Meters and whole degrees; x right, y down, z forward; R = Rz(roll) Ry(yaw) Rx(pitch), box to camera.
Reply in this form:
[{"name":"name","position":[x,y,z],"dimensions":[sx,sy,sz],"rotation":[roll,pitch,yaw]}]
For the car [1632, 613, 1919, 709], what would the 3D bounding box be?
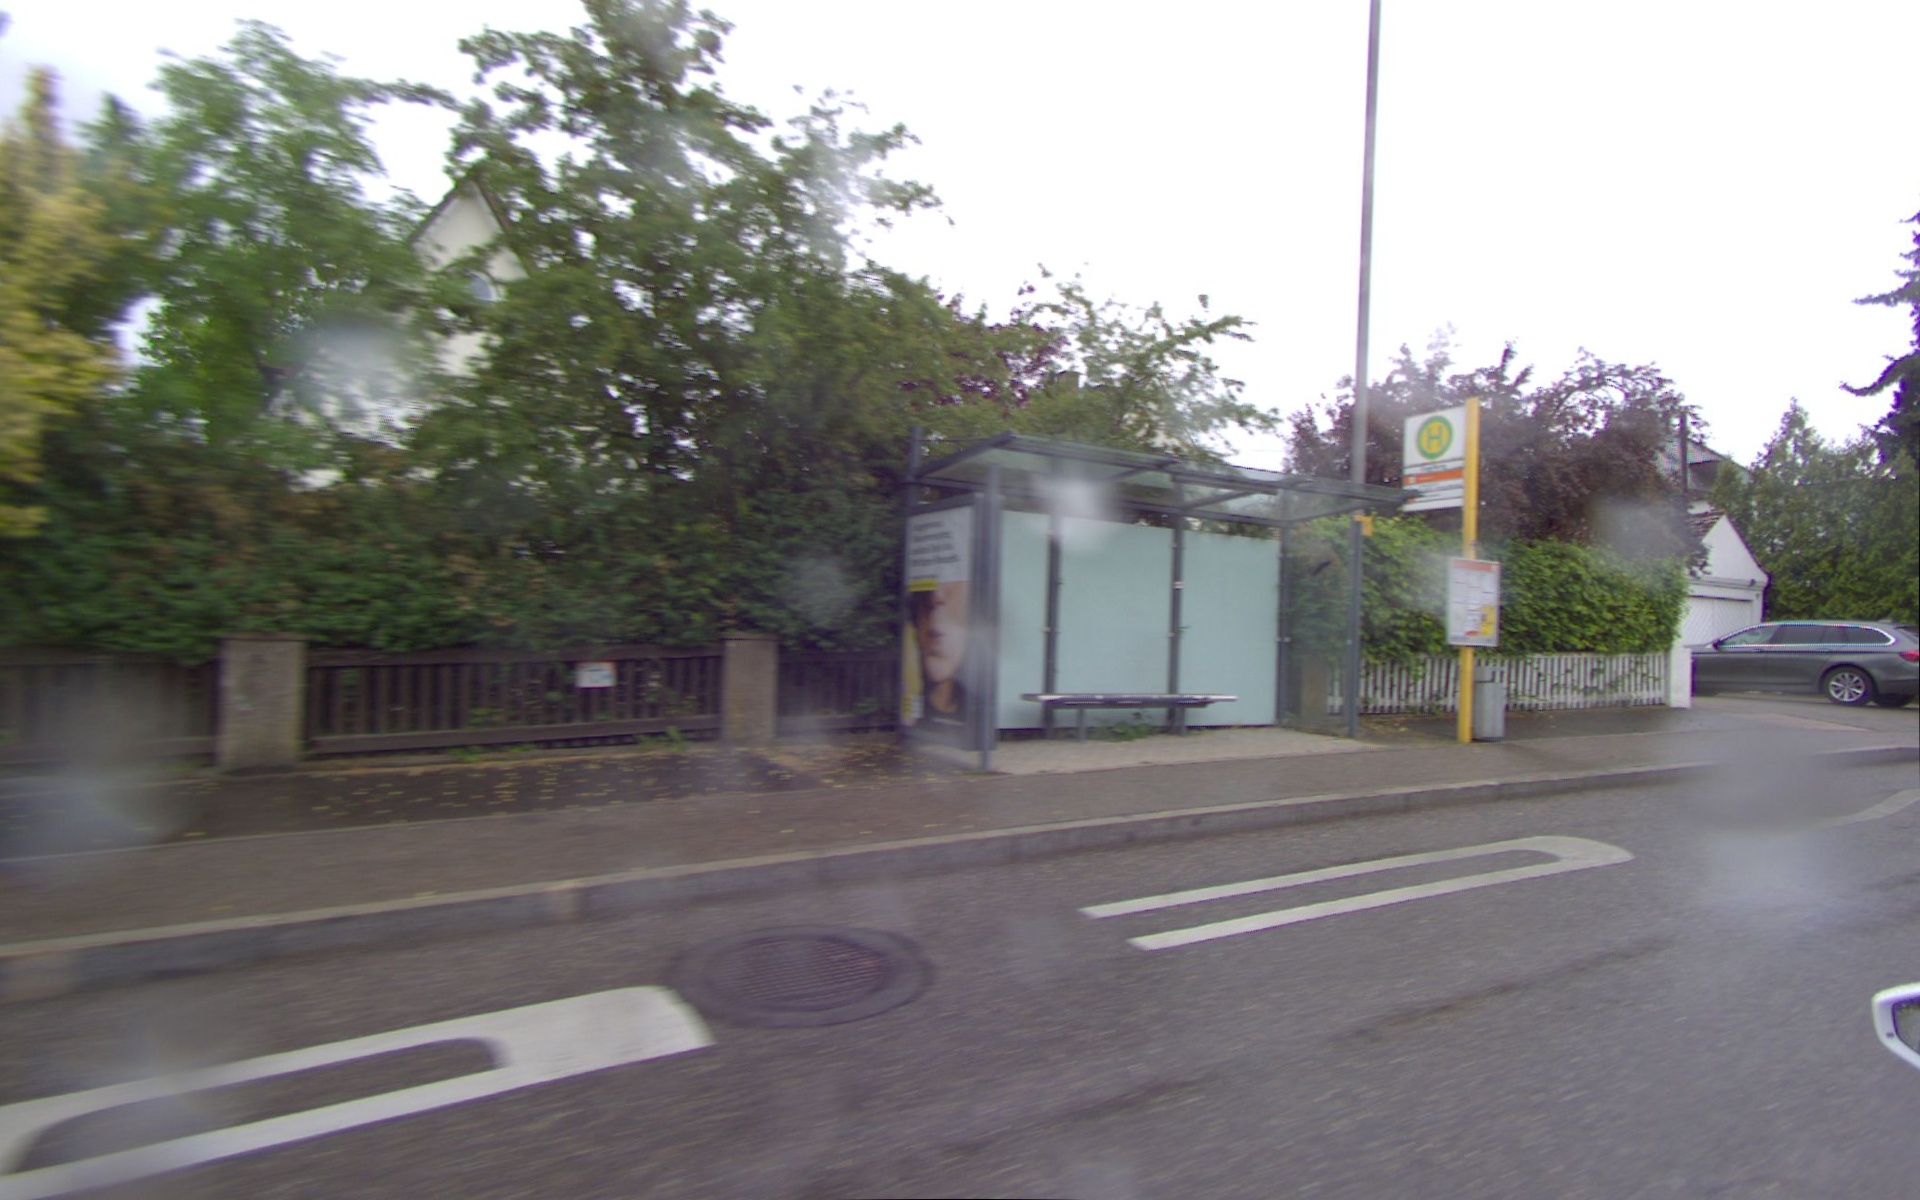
[{"name":"car","position":[15.251,1.023,18.435],"dimensions":[1.817,1.495,4.519],"rotation":[1,-1,-29]}]
